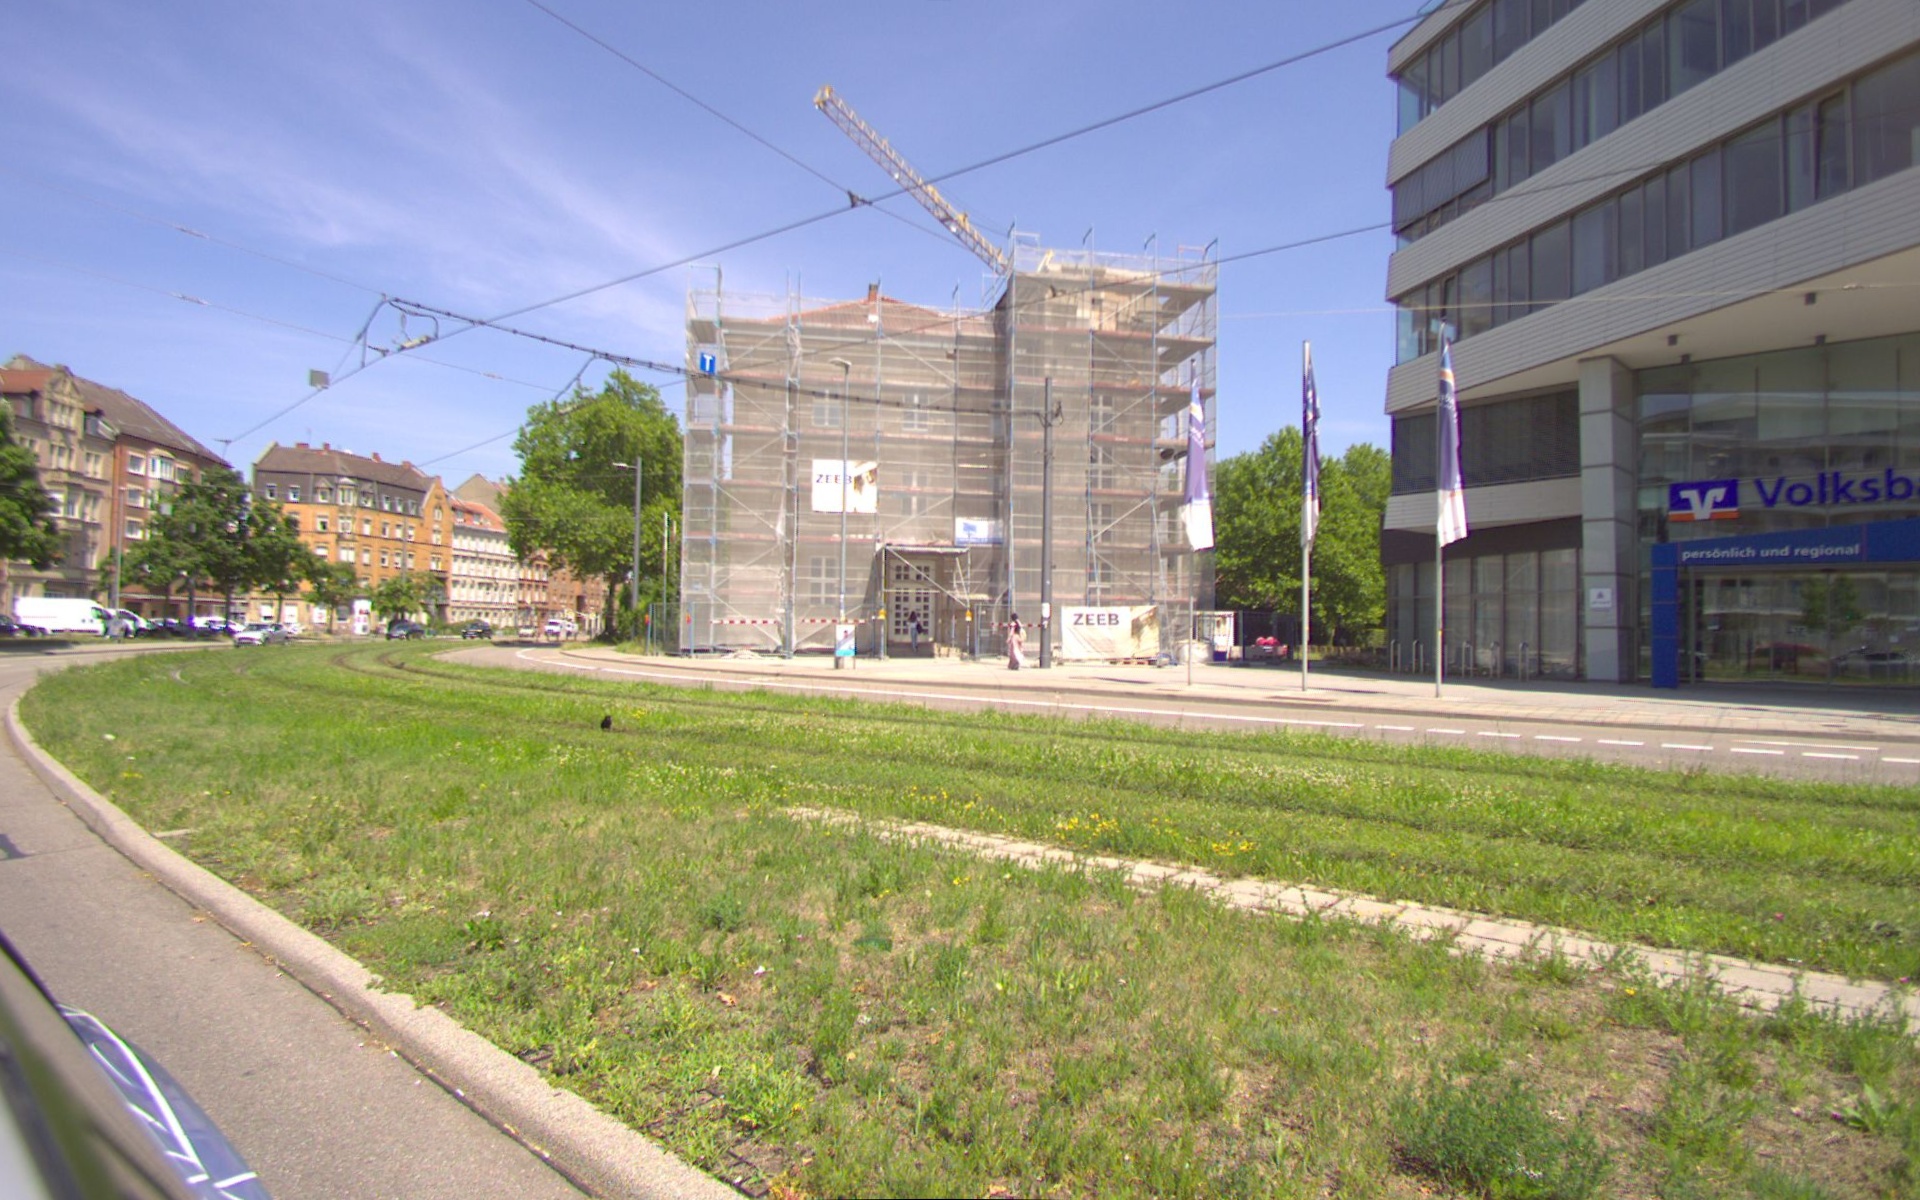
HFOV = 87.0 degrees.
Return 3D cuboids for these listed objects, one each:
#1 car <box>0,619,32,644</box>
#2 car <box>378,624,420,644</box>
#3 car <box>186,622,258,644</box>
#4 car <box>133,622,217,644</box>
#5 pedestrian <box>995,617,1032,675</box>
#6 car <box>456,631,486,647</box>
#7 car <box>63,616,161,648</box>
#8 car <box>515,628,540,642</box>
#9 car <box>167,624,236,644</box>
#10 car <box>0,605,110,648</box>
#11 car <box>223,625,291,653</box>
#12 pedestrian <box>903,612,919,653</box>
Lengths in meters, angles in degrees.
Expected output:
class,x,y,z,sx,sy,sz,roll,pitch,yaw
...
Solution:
class,x,y,z,sx,sy,sz,roll,pitch,yaw
car,-52.425,1.679,53.817,1.972,1.349,4.369,-2,-2,43
car,-46.023,2.788,83.168,1.772,1.586,4.008,0,-2,-9
car,-56.858,2.562,78.030,4.338,1.644,2.006,1,-2,-32
car,-55.692,2.364,71.888,4.556,1.508,1.970,1,-2,-35
pedestrian,1.553,1.316,29.209,0.908,1.643,0.745,-1,-2,18
car,-47.698,3.801,98.830,1.772,1.586,4.009,0,-2,-12
car,-54.634,2.053,65.321,4.771,1.988,2.080,1,-2,-40
car,-51.502,4.196,120.588,1.773,1.586,4.006,0,-2,-7
car,-56.166,2.496,75.016,3.932,1.410,1.829,0,-2,-32
car,-54.952,1.580,60.992,2.238,2.479,5.473,-2,-3,43
car,-42.101,2.334,60.722,1.772,1.586,4.008,0,-2,-9
pedestrian,-1.861,1.225,38.547,0.573,1.530,0.589,-1,-2,3
